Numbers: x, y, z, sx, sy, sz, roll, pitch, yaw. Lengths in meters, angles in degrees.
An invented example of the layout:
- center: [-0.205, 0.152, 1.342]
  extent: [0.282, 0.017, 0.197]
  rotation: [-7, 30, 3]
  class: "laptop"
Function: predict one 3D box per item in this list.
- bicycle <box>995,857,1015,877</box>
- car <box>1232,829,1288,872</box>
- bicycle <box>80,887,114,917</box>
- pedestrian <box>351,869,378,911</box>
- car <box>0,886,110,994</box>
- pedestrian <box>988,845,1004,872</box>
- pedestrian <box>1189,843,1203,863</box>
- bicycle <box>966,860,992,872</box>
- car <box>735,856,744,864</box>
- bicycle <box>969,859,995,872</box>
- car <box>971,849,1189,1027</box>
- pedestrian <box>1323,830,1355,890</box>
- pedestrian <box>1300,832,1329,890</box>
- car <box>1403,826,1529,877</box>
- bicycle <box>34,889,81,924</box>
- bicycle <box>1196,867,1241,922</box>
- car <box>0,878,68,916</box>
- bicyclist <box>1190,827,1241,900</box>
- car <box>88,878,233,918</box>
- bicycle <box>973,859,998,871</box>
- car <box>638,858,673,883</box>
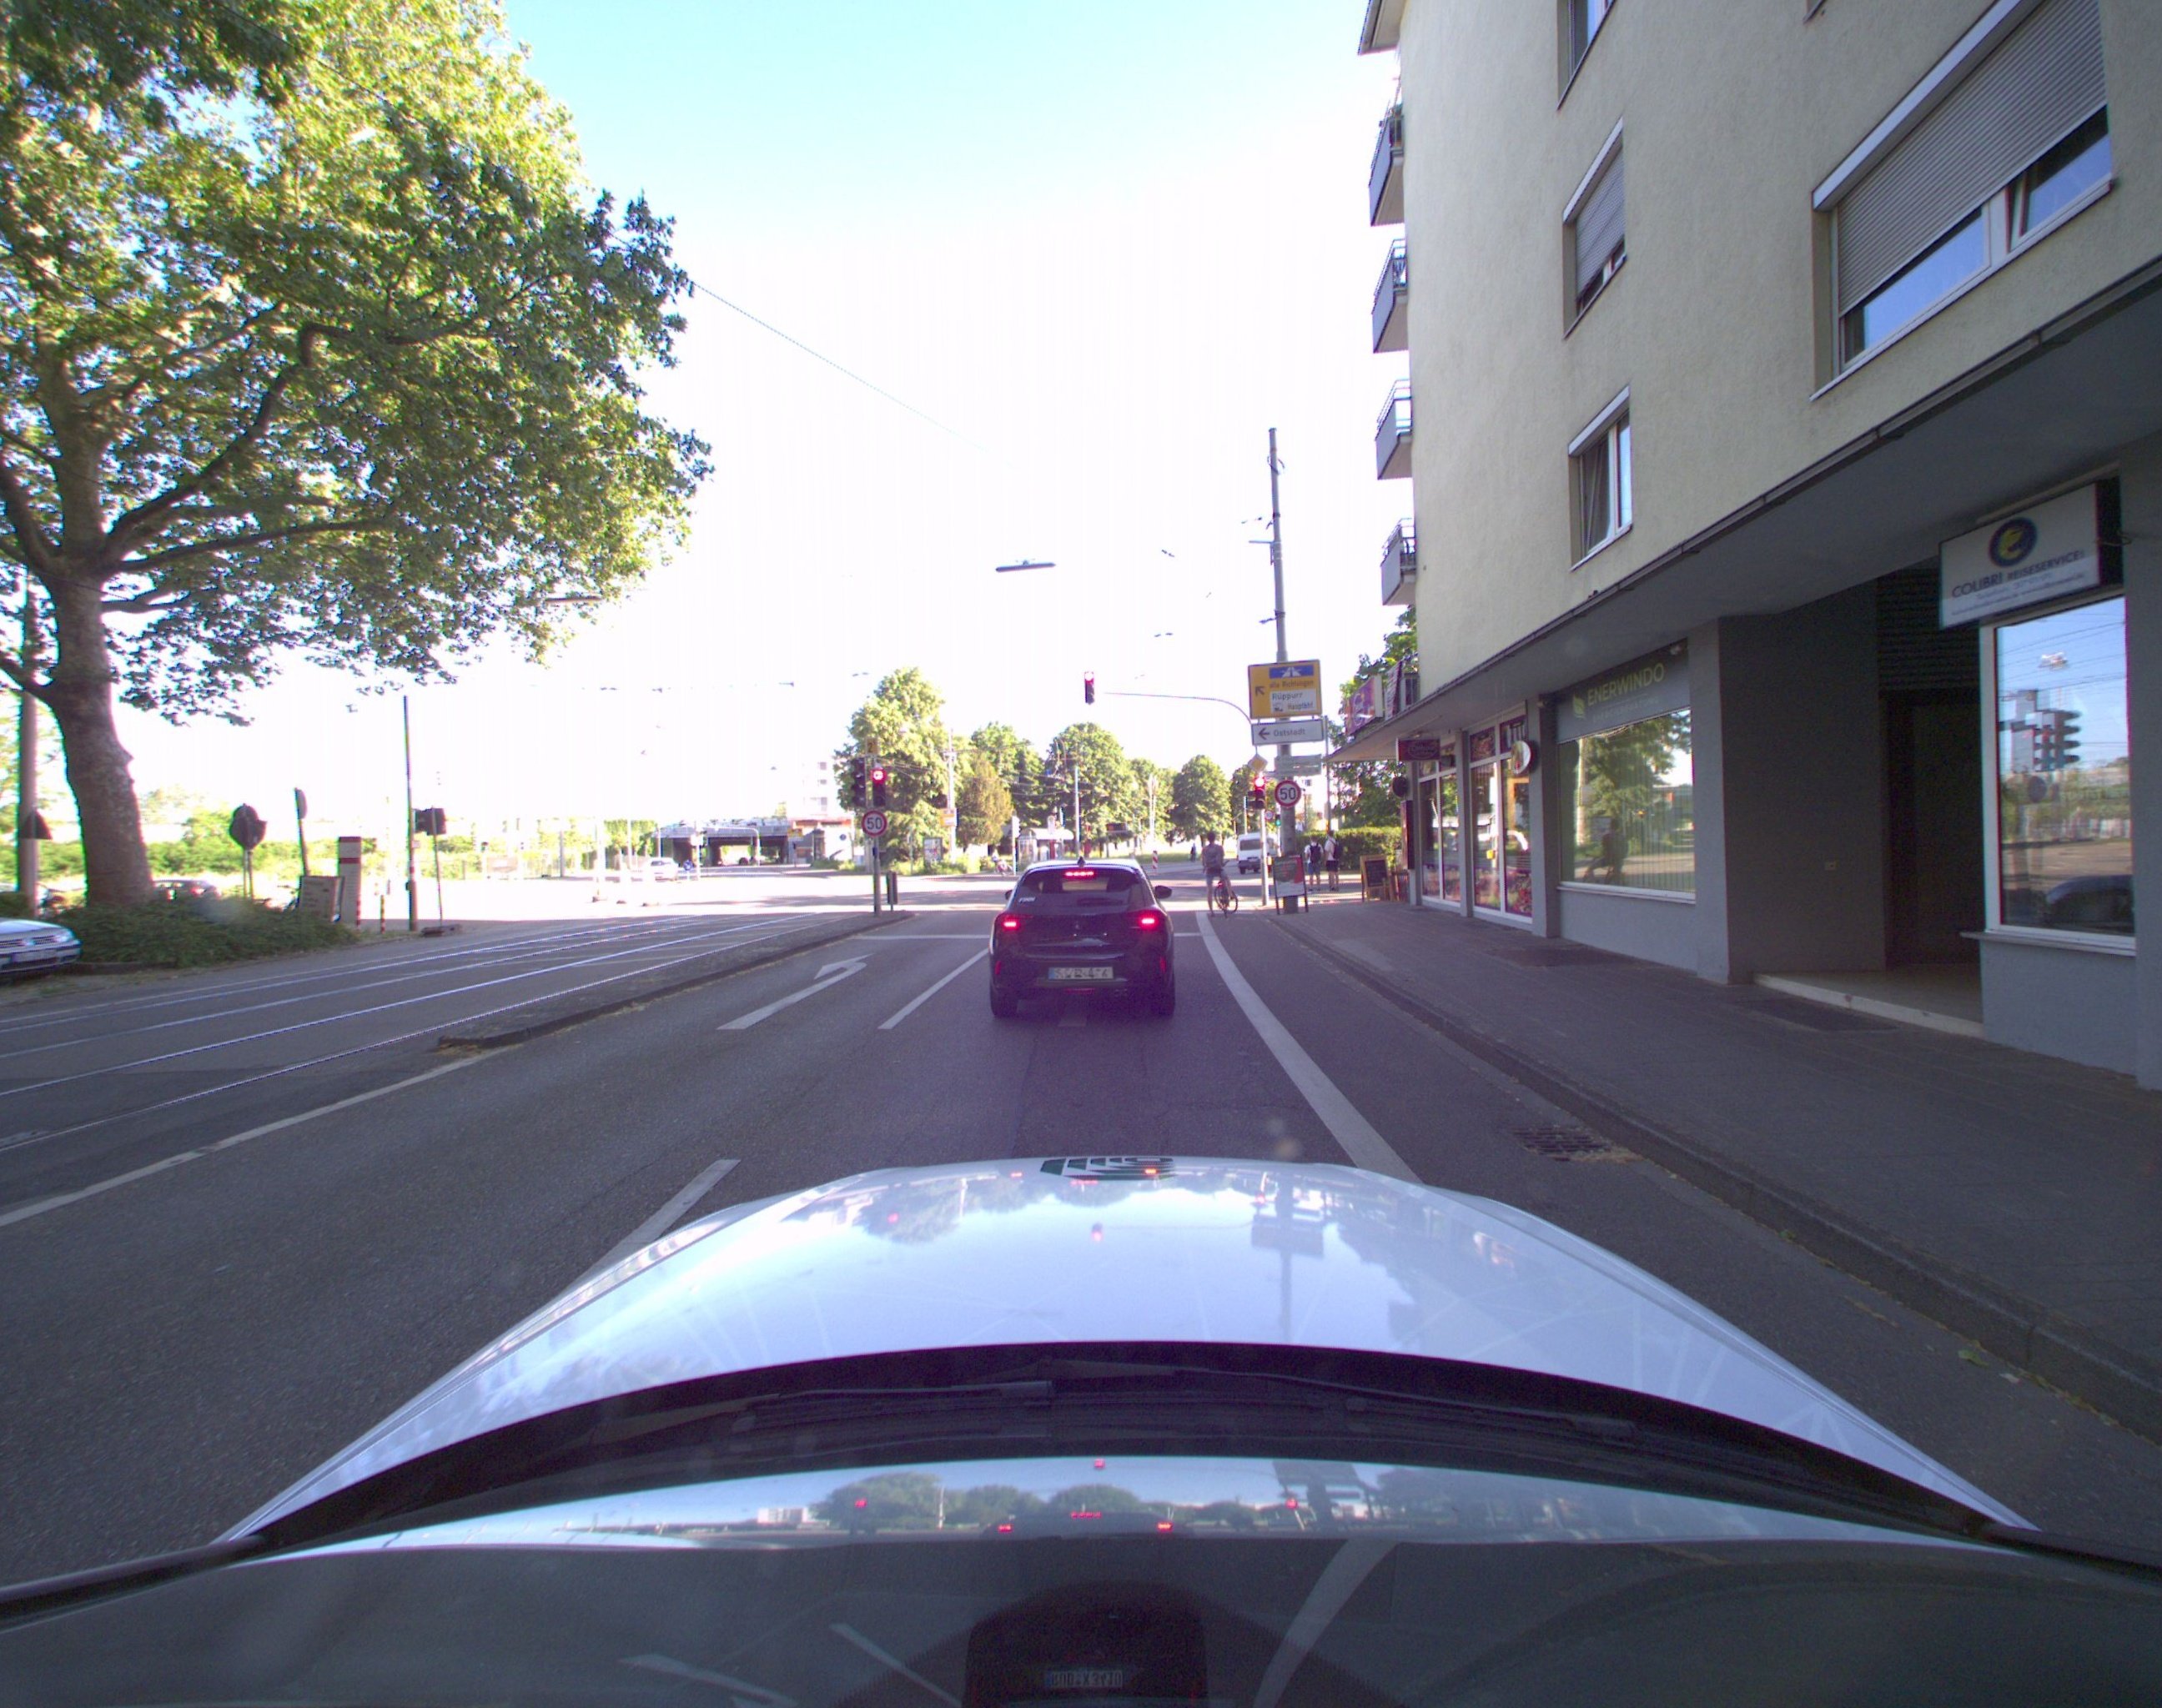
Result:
- center: [-4.365, 0.748, 46.891]
  extent: [0.821, 1.059, 1.885]
  rotation: [-2, 0, 4]
  class: "bicycle"
- center: [10.142, -0.178, 45.946]
  extent: [2.070, 2.277, 4.331]
  rotation: [-1, -1, 26]
  class: "car"
- center: [-26.351, 1.283, 21.805]
  extent: [1.757, 0.759, 0.360]
  rotation: [-1, 0, 32]
  class: "bicycle"
- center: [-28.058, 1.391, 31.904]
  extent: [0.602, 1.596, 0.679]
  rotation: [0, -1, -24]
  class: "pedestrian"
- center: [-16.669, 1.207, 11.335]
  extent: [3.980, 1.417, 1.701]
  rotation: [0, -1, -5]
  class: "car"
- center: [-5.555, 0.298, 53.351]
  extent: [0.718, 1.693, 0.705]
  rotation: [-2, 0, 38]
  class: "pedestrian"
- center: [10.554, -0.084, 74.948]
  extent: [0.949, 1.793, 1.002]
  rotation: [-2, 0, 27]
  class: "pedestrian"
- center: [-8.053, 0.972, 64.197]
  extent: [1.866, 0.906, 0.661]
  rotation: [-2, 0, 8]
  class: "bicycle"
- center: [-79.861, 1.393, 190.446]
  extent: [2.003, 2.014, 3.967]
  rotation: [0, -1, -25]
  class: "car"
- center: [-7.927, 0.918, 65.180]
  extent: [1.866, 0.906, 0.661]
  rotation: [-2, 0, 8]
  class: "bicycle"
- center: [0.107, 0.698, 8.829]
  extent: [1.793, 1.441, 3.943]
  rotation: [-2, 0, 3]
  class: "car"
- center: [8.080, 0.184, 25.495]
  extent: [0.696, 1.846, 0.705]
  rotation: [-2, 0, 41]
  class: "pedestrian"
- center: [7.295, 0.217, 25.448]
  extent: [0.696, 1.792, 0.617]
  rotation: [-2, 0, 1]
  class: "pedestrian"
- center: [15.131, -0.063, 32.236]
  extent: [4.150, 1.814, 1.811]
  rotation: [-2, -3, 10]
  class: "car"
- center: [-25.047, 1.272, 19.952]
  extent: [0.360, 0.759, 1.759]
  rotation: [-2, 0, -40]
  class: "bicycle"
- center: [2.963, 0.839, 17.679]
  extent: [0.665, 1.059, 2.083]
  rotation: [-2, 0, 2]
  class: "bicycle"
- center: [-48.399, 1.933, 36.013]
  extent: [4.006, 1.419, 1.880]
  rotation: [-1, 6, -25]
  class: "car"
- center: [2.907, 0.187, 17.752]
  extent: [0.837, 1.510, 1.368]
  rotation: [-2, 0, 0]
  class: "bicyclist"
- center: [-43.132, 2.030, 38.313]
  extent: [4.006, 1.419, 1.880]
  rotation: [-1, 6, -25]
  class: "car"
- center: [-7.750, 0.924, 66.047]
  extent: [1.866, 0.906, 0.661]
  rotation: [-2, 0, 8]
  class: "bicycle"
- center: [-29.521, 1.101, 56.419]
  extent: [2.006, 1.631, 4.587]
  rotation: [-2, 1, -29]
  class: "car"
